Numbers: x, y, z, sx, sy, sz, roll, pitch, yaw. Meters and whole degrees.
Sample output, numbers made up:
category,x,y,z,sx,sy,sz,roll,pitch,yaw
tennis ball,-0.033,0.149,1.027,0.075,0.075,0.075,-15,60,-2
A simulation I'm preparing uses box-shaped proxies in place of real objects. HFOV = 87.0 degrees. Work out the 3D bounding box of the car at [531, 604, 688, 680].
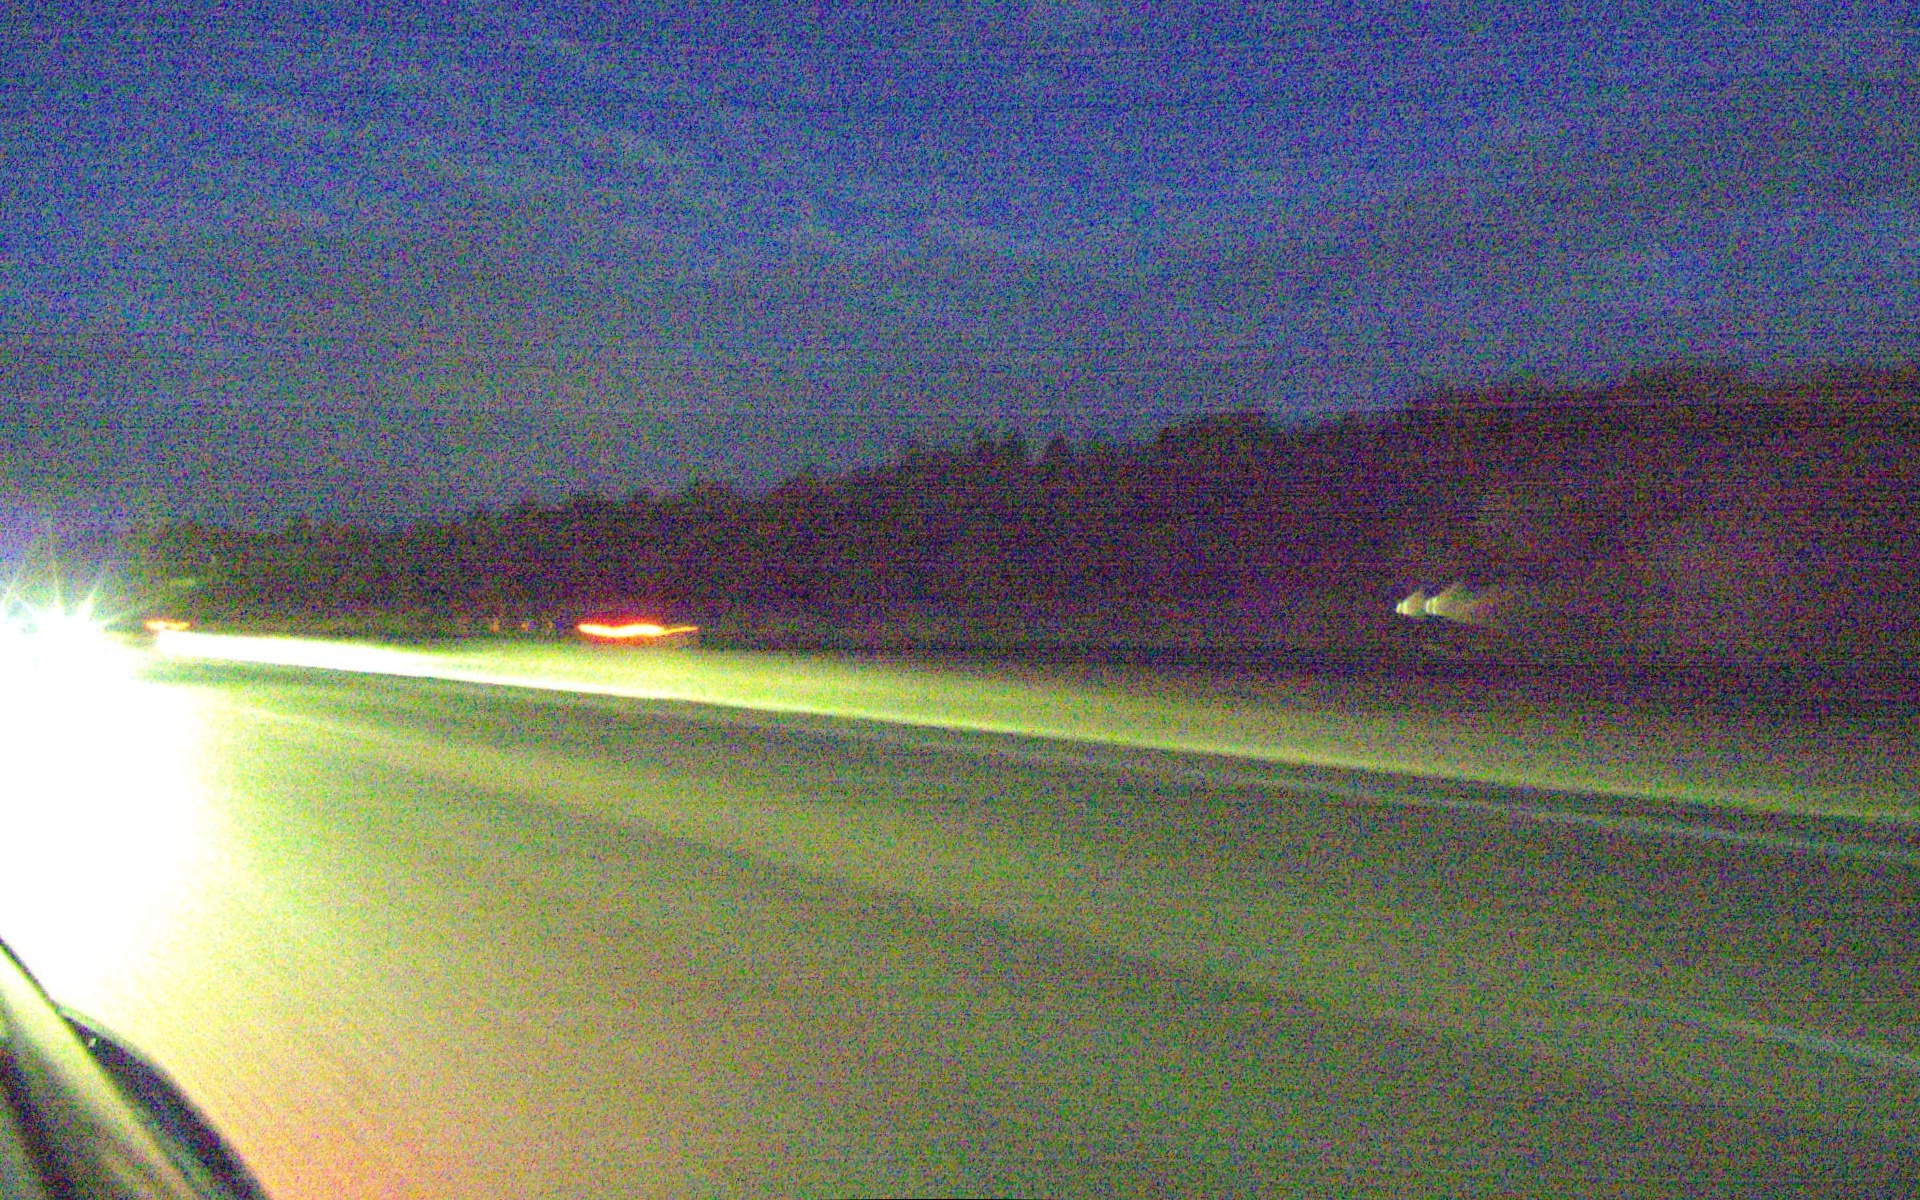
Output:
category,x,y,z,sx,sy,sz,roll,pitch,yaw
car,-10.058,1.140,28.883,4.761,1.970,2.174,-1,0,42

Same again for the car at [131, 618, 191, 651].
category,x,y,z,sx,sy,sz,roll,pitch,yaw
car,-51.142,2.151,64.749,4.761,1.970,2.174,-1,0,42

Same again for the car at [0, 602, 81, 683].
category,x,y,z,sx,sy,sz,roll,pitch,yaw
car,-22.607,0.969,23.957,5.940,1.734,1.972,-1,-1,42
